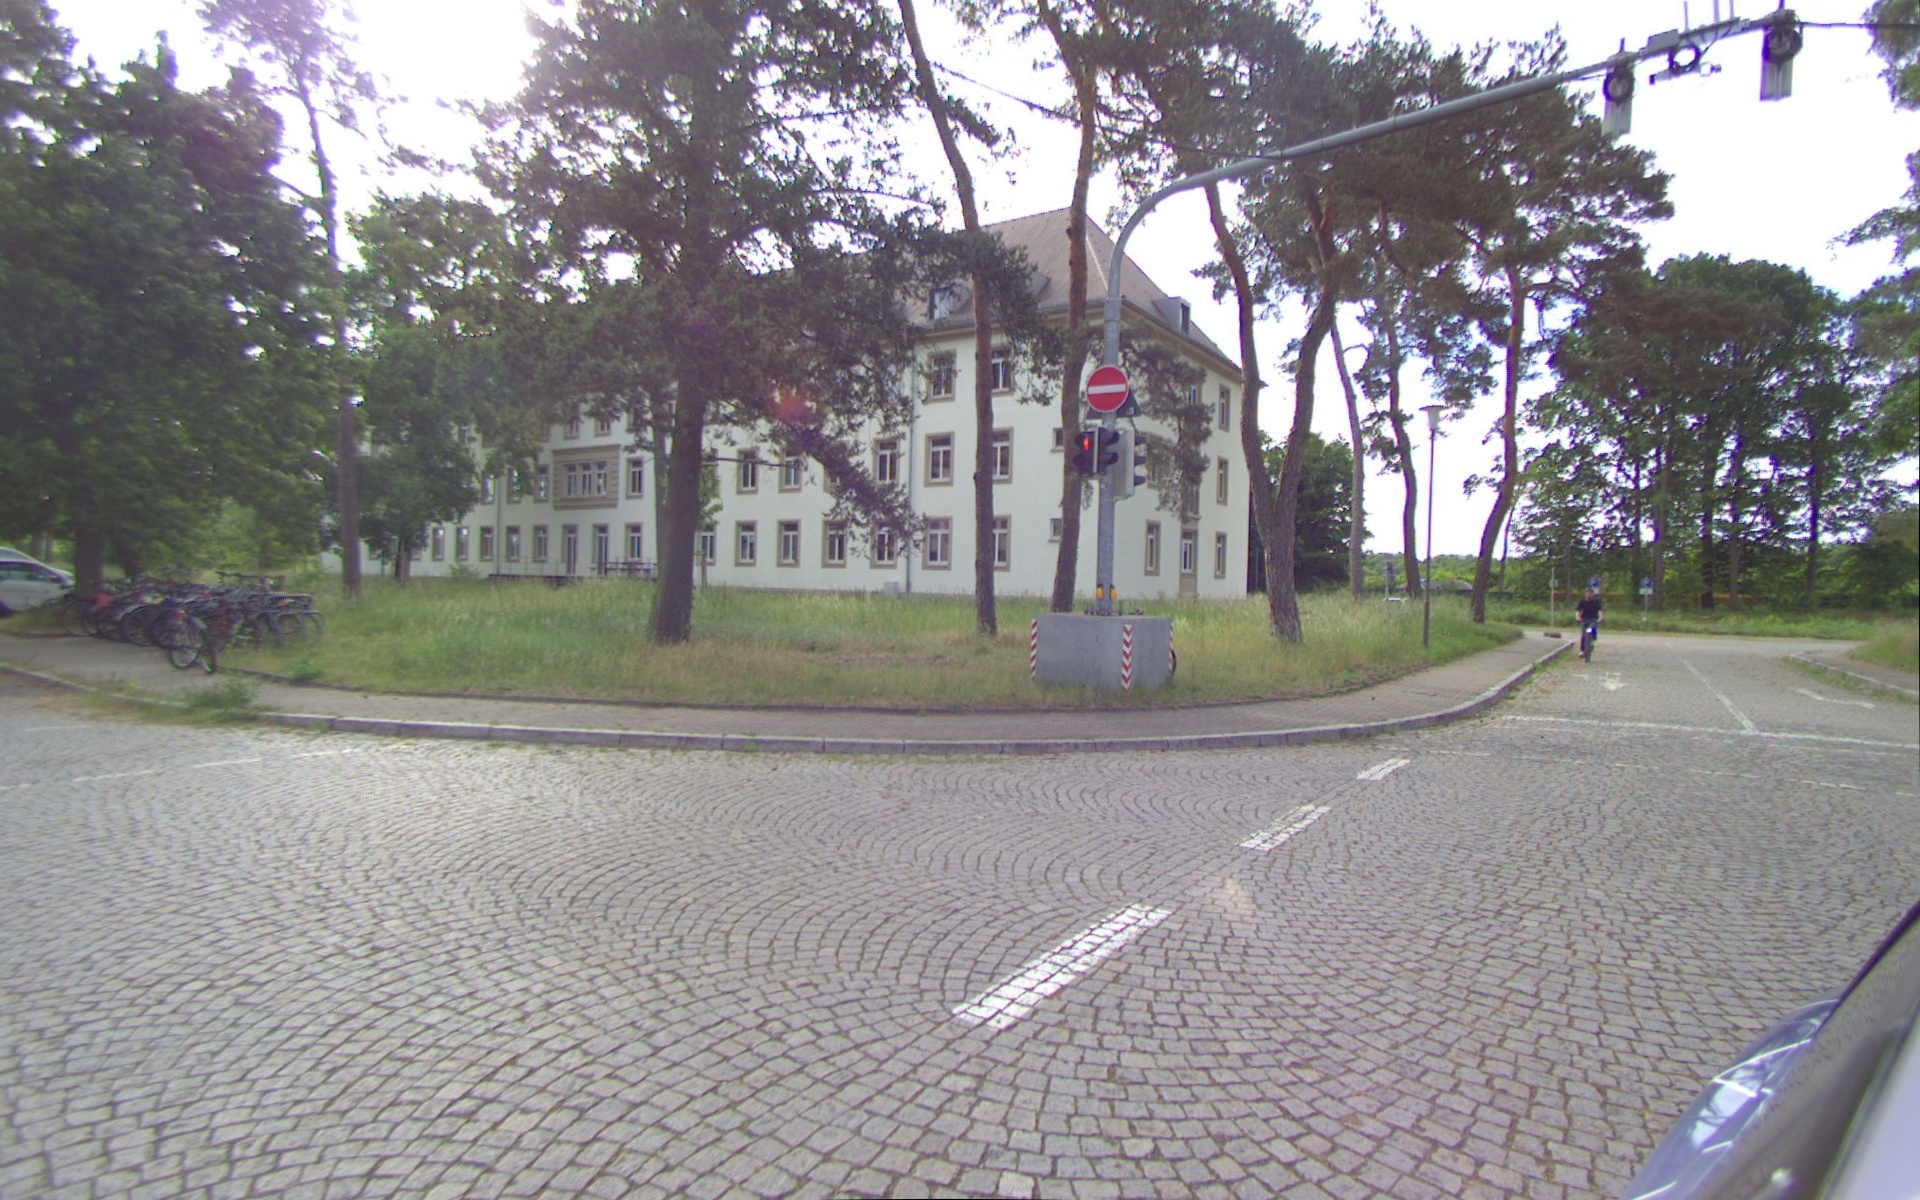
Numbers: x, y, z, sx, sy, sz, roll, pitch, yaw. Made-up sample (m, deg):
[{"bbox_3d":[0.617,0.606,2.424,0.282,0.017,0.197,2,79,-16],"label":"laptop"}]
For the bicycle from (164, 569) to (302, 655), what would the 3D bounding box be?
[{"bbox_3d":[-11.987,0.182,16.758,0.478,1.348,1.819,1,1,29],"label":"bicycle"}]

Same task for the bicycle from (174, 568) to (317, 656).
[{"bbox_3d":[-11.587,0.175,16.466,0.570,1.348,1.810,2,1,41],"label":"bicycle"}]

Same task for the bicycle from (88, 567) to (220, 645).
[{"bbox_3d":[-14.757,0.091,18.585,0.568,1.348,1.819,1,1,29],"label":"bicycle"}]

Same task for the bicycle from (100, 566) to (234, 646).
[{"bbox_3d":[-14.182,0.094,18.157,0.568,1.348,1.819,1,1,29],"label":"bicycle"}]

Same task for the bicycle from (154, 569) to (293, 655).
[{"bbox_3d":[-12.335,0.180,17.013,0.568,1.348,1.819,1,1,29],"label":"bicycle"}]

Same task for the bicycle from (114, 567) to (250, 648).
[{"bbox_3d":[-13.700,0.120,17.875,0.568,1.348,1.819,1,1,29],"label":"bicycle"}]

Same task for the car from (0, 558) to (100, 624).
[{"bbox_3d":[-22.783,-0.235,24.548,1.467,1.527,2.660,2,1,34],"label":"car"}]

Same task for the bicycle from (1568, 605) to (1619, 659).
[{"bbox_3d":[16.460,0.792,26.261,0.959,1.292,2.135,2,1,36],"label":"bicycle"}]

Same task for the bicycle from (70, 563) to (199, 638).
[{"bbox_3d":[-15.711,-0.002,19.312,0.568,1.348,1.819,1,1,29],"label":"bicycle"}]

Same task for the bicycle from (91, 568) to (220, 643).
[{"bbox_3d":[-15.146,0.086,19.097,0.568,1.348,1.819,1,1,29],"label":"bicycle"}]

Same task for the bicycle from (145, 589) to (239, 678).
[{"bbox_3d":[-10.537,0.425,13.865,1.828,1.098,0.565,2,3,38],"label":"bicycle"}]

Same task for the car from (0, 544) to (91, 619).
[{"bbox_3d":[-25.611,-0.498,25.696,1.987,1.908,5.055,2,1,34],"label":"car"}]

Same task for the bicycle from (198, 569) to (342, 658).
[{"bbox_3d":[-11.013,0.199,16.205,0.570,1.348,1.810,2,1,41],"label":"bicycle"}]

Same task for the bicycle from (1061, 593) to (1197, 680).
[{"bbox_3d":[2.363,0.483,14.276,1.824,1.098,0.566,2,2,33],"label":"bicycle"}]

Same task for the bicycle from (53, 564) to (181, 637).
[{"bbox_3d":[-16.330,0.002,19.657,0.568,1.348,1.819,1,1,29],"label":"bicycle"}]

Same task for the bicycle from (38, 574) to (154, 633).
[{"bbox_3d":[-18.617,0.058,21.852,0.567,1.201,1.820,1,1,27],"label":"bicycle"}]

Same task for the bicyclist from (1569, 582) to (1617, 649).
[{"bbox_3d":[16.425,0.387,26.262,0.959,1.655,0.905,2,1,36],"label":"bicyclist"}]

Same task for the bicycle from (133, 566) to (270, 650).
[{"bbox_3d":[-12.993,0.121,17.394,0.568,1.348,1.819,1,1,29],"label":"bicycle"}]
